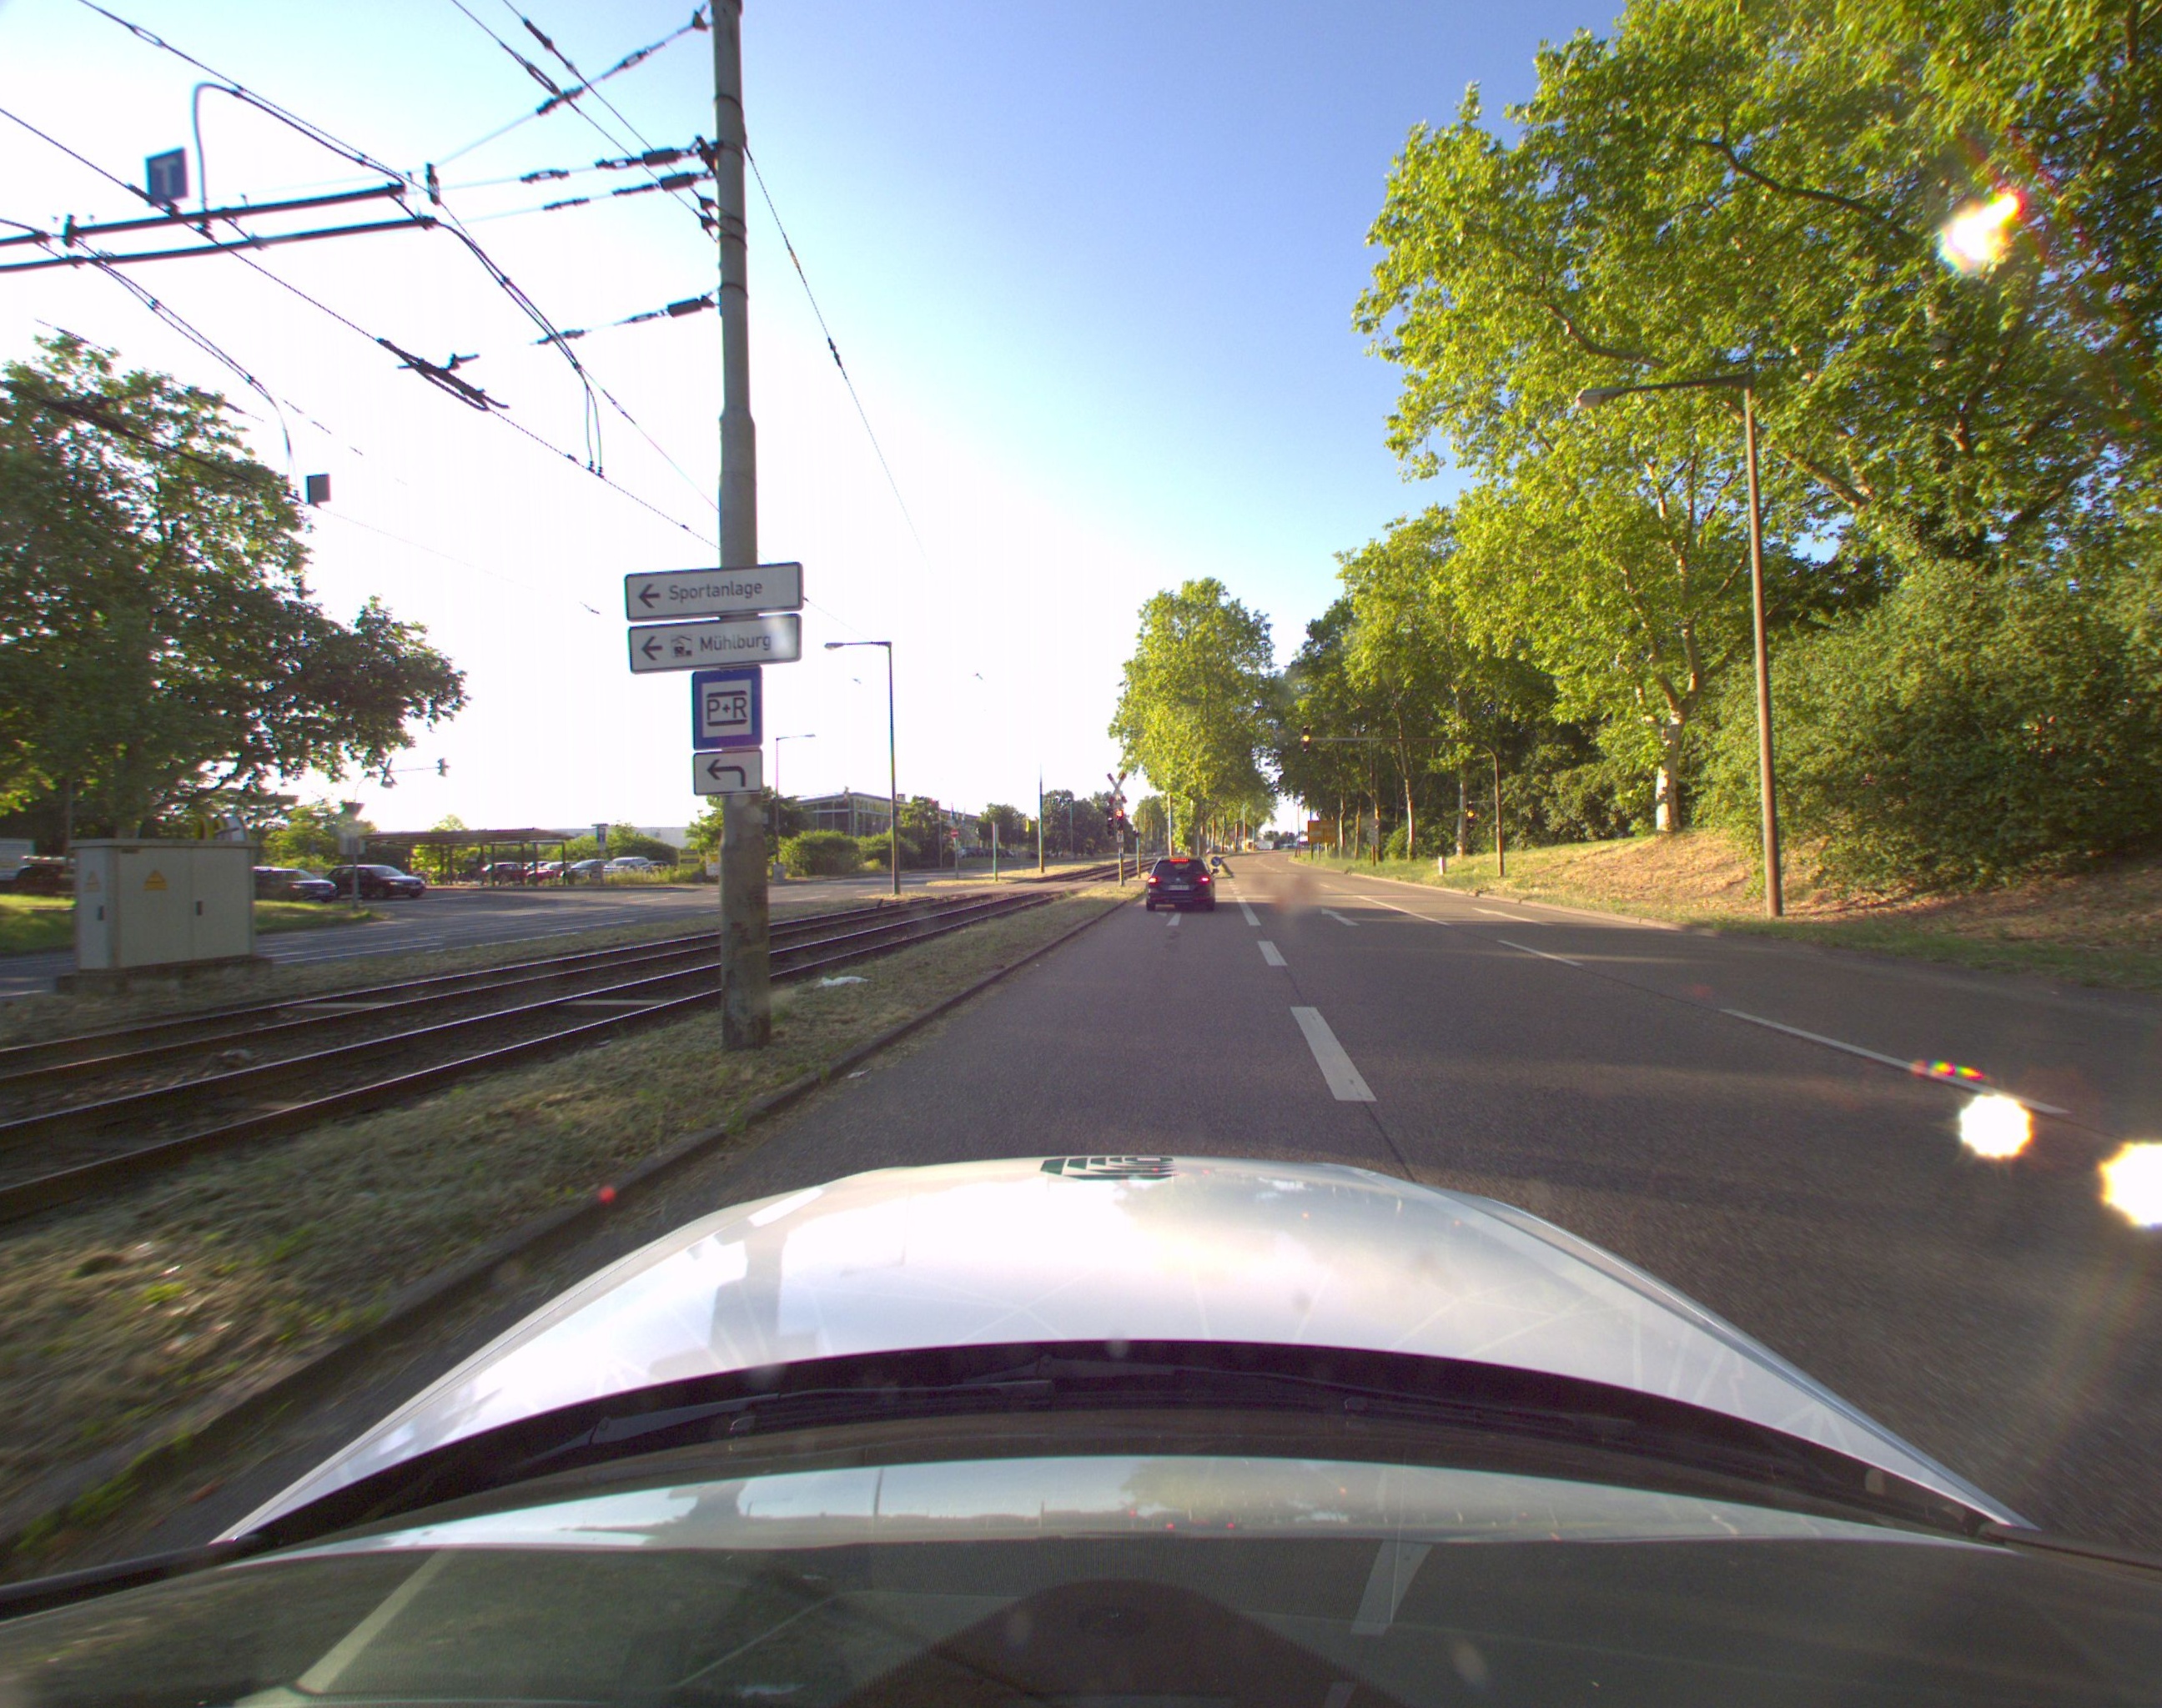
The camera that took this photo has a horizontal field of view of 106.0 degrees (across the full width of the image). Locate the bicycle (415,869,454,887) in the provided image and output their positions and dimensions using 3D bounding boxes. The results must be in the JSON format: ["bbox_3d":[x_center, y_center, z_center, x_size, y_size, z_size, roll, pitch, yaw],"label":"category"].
[{"bbox_3d":[-40.690,1.484,51.285,0.664,1.065,2.191,-1,0,-1],"label":"bicycle"}]

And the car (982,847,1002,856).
[{"bbox_3d":[-14.811,-0.367,135.291,3.126,1.490,1.458,-1,0,5],"label":"car"}]

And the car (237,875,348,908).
[{"bbox_3d":[-35.710,1.675,36.922,4.025,1.387,1.791,-1,0,15],"label":"car"}]

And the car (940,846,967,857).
[{"bbox_3d":[-15.983,-0.324,102.218,3.126,1.391,1.458,-1,0,5],"label":"car"}]

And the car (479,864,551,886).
[{"bbox_3d":[-40.338,1.477,58.135,1.829,1.442,4.013,-1,0,12],"label":"car"}]

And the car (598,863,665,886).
[{"bbox_3d":[-31.019,1.375,56.288,1.829,1.442,4.013,-1,0,12],"label":"car"}]

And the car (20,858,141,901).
[{"bbox_3d":[-47.282,1.183,38.515,3.960,1.860,2.007,-1,0,12],"label":"car"}]

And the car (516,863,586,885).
[{"bbox_3d":[-37.426,1.406,57.619,1.829,1.442,4.013,-1,0,12],"label":"car"}]

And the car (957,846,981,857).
[{"bbox_3d":[-16.576,-0.367,120.417,3.126,1.490,1.458,-1,0,5],"label":"car"}]

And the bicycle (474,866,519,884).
[{"bbox_3d":[-35.997,1.298,50.207,0.660,1.065,2.205,-1,0,27],"label":"bicycle"}]

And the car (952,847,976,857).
[{"bbox_3d":[-16.838,-0.307,117.516,3.126,1.490,1.458,-1,0,5],"label":"car"}]

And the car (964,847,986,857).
[{"bbox_3d":[-16.056,-0.319,123.303,3.126,1.490,1.458,-1,0,5],"label":"car"}]

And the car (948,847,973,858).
[{"bbox_3d":[-16.805,-0.255,113.549,3.126,1.490,1.458,-1,0,5],"label":"car"}]

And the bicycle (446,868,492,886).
[{"bbox_3d":[-38.554,1.461,51.349,0.659,1.065,2.206,-1,0,40],"label":"bicycle"}]

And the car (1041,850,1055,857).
[{"bbox_3d":[-7.537,-0.108,187.030,3.126,1.490,1.458,-1,0,5],"label":"car"}]

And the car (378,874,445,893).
[{"bbox_3d":[-55.771,2.458,67.925,1.829,1.442,4.013,-1,0,12],"label":"car"}]

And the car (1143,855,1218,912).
[{"bbox_3d":[2.796,0.754,22.289,1.781,1.403,3.699,-1,0,10],"label":"car"}]

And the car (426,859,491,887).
[{"bbox_3d":[-51.282,1.532,67.162,1.829,2.242,4.013,-1,0,12],"label":"car"}]

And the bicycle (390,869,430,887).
[{"bbox_3d":[-41.852,1.505,50.814,0.664,1.065,2.191,-1,0,-1],"label":"bicycle"}]

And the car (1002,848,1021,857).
[{"bbox_3d":[-12.055,-0.219,141.351,3.126,1.490,1.458,-1,0,5],"label":"car"}]

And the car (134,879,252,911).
[{"bbox_3d":[-41.161,1.903,37.778,4.029,1.387,1.789,-1,0,10],"label":"car"}]

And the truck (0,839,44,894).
[{"bbox_3d":[-70.317,0.824,51.184,8.237,3.388,2.742,-1,0,10],"label":"truck"}]

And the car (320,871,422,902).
[{"bbox_3d":[-34.770,1.582,39.913,4.025,1.387,1.791,-1,0,15],"label":"car"}]

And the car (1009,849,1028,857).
[{"bbox_3d":[-11.175,-0.159,144.741,3.126,1.490,1.458,-1,0,5],"label":"car"}]

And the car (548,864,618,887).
[{"bbox_3d":[-34.329,1.441,56.309,1.829,1.442,4.013,-1,0,12],"label":"car"}]

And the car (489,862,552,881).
[{"bbox_3d":[-45.869,1.446,66.756,1.829,1.442,4.013,-1,0,12],"label":"car"}]
